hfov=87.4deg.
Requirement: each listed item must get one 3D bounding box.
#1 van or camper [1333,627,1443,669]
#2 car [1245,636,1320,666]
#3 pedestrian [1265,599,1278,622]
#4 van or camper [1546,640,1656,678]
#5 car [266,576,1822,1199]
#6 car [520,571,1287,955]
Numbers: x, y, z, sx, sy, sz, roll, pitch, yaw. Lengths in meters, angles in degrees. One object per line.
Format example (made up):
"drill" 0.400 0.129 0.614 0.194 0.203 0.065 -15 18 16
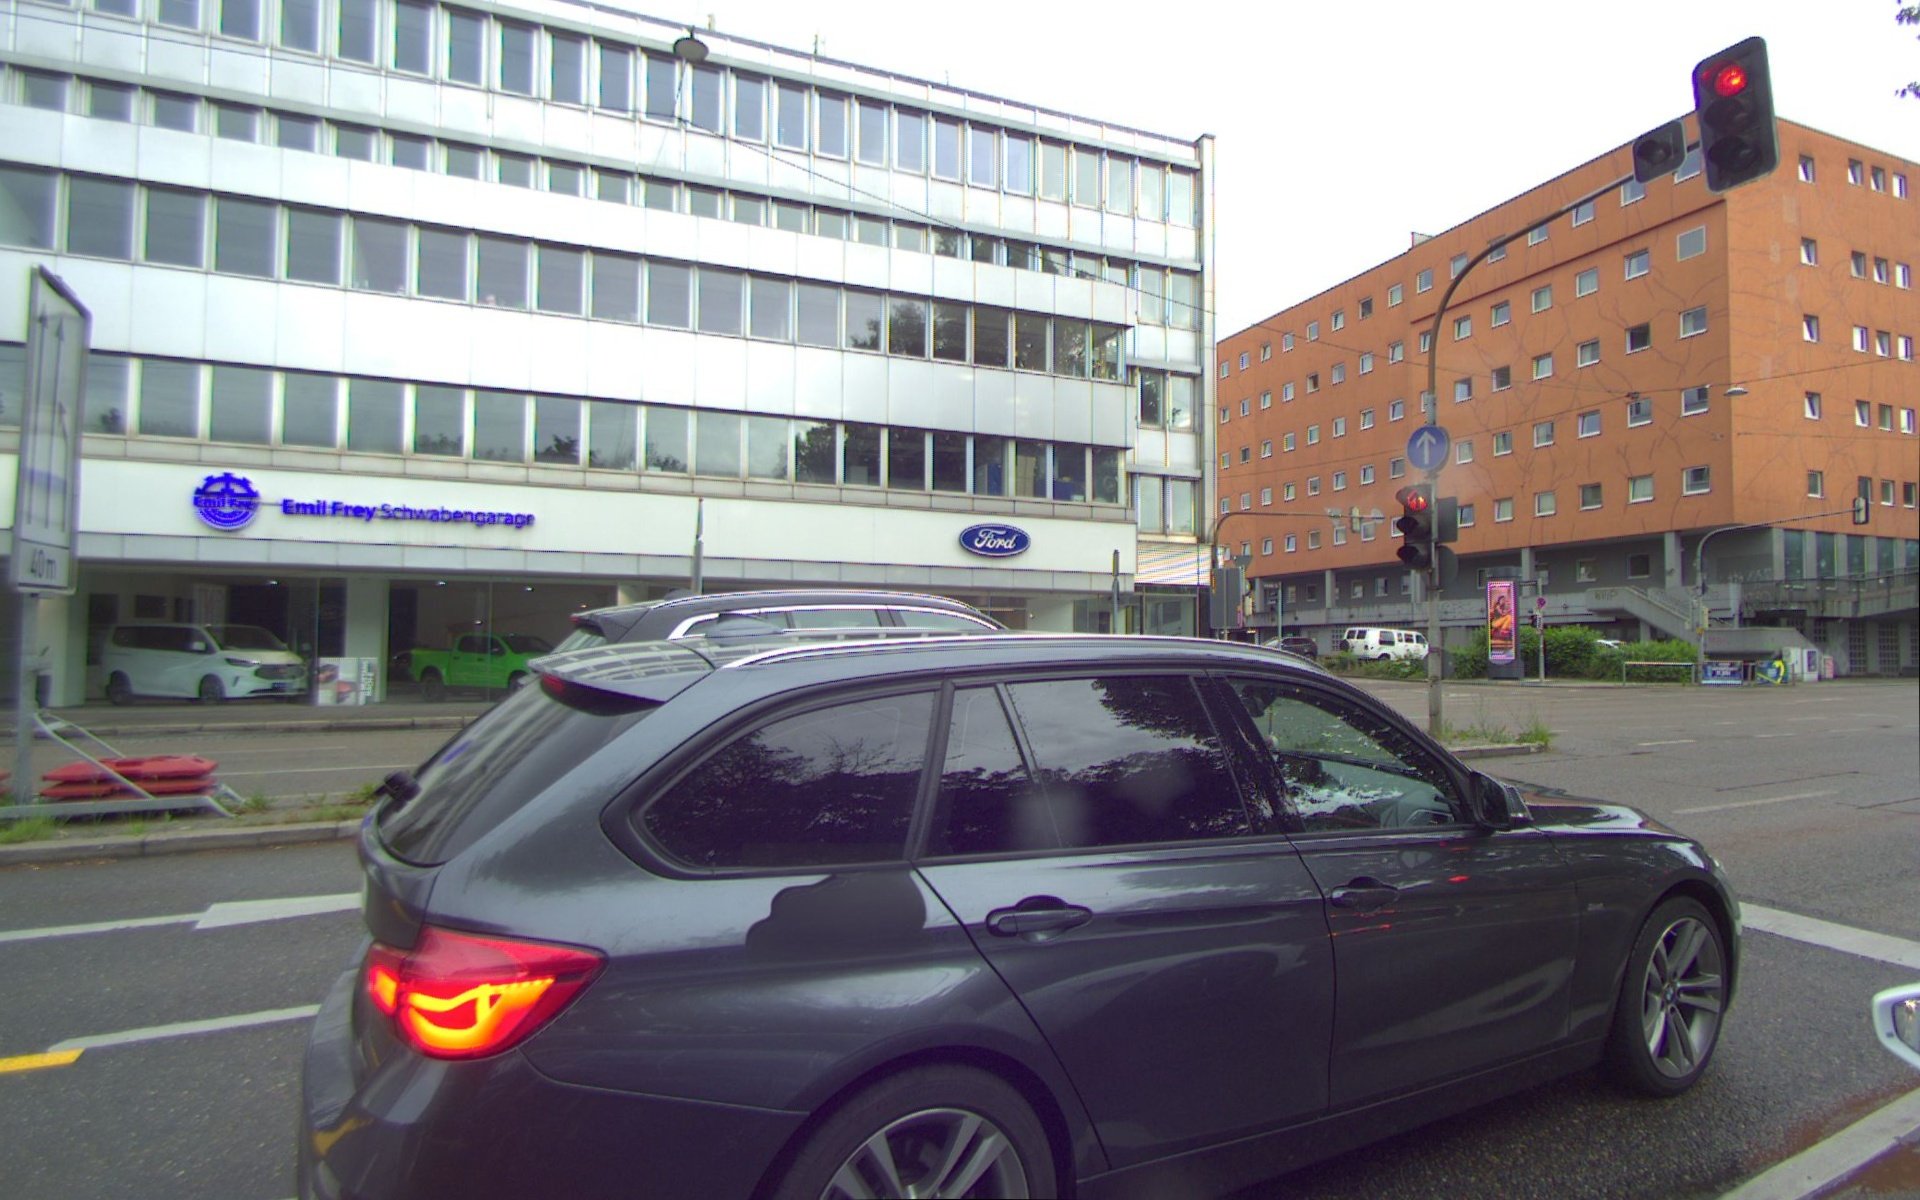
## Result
"van or camper" 22.305 2.513 52.361 5.376 2.004 2.121 2 0 -23
"car" 18.971 2.989 59.019 4.027 1.633 1.706 2 0 -23
"pedestrian" 26.054 0.859 84.075 0.714 1.864 0.761 2 0 -21
"van or camper" 29.866 2.720 46.953 1.887 1.648 3.978 1 -2 -23
"car" 0.616 0.799 3.150 4.424 1.477 1.769 2 -3 -30
"car" -0.260 0.768 6.231 4.389 1.678 1.802 2 0 -28
